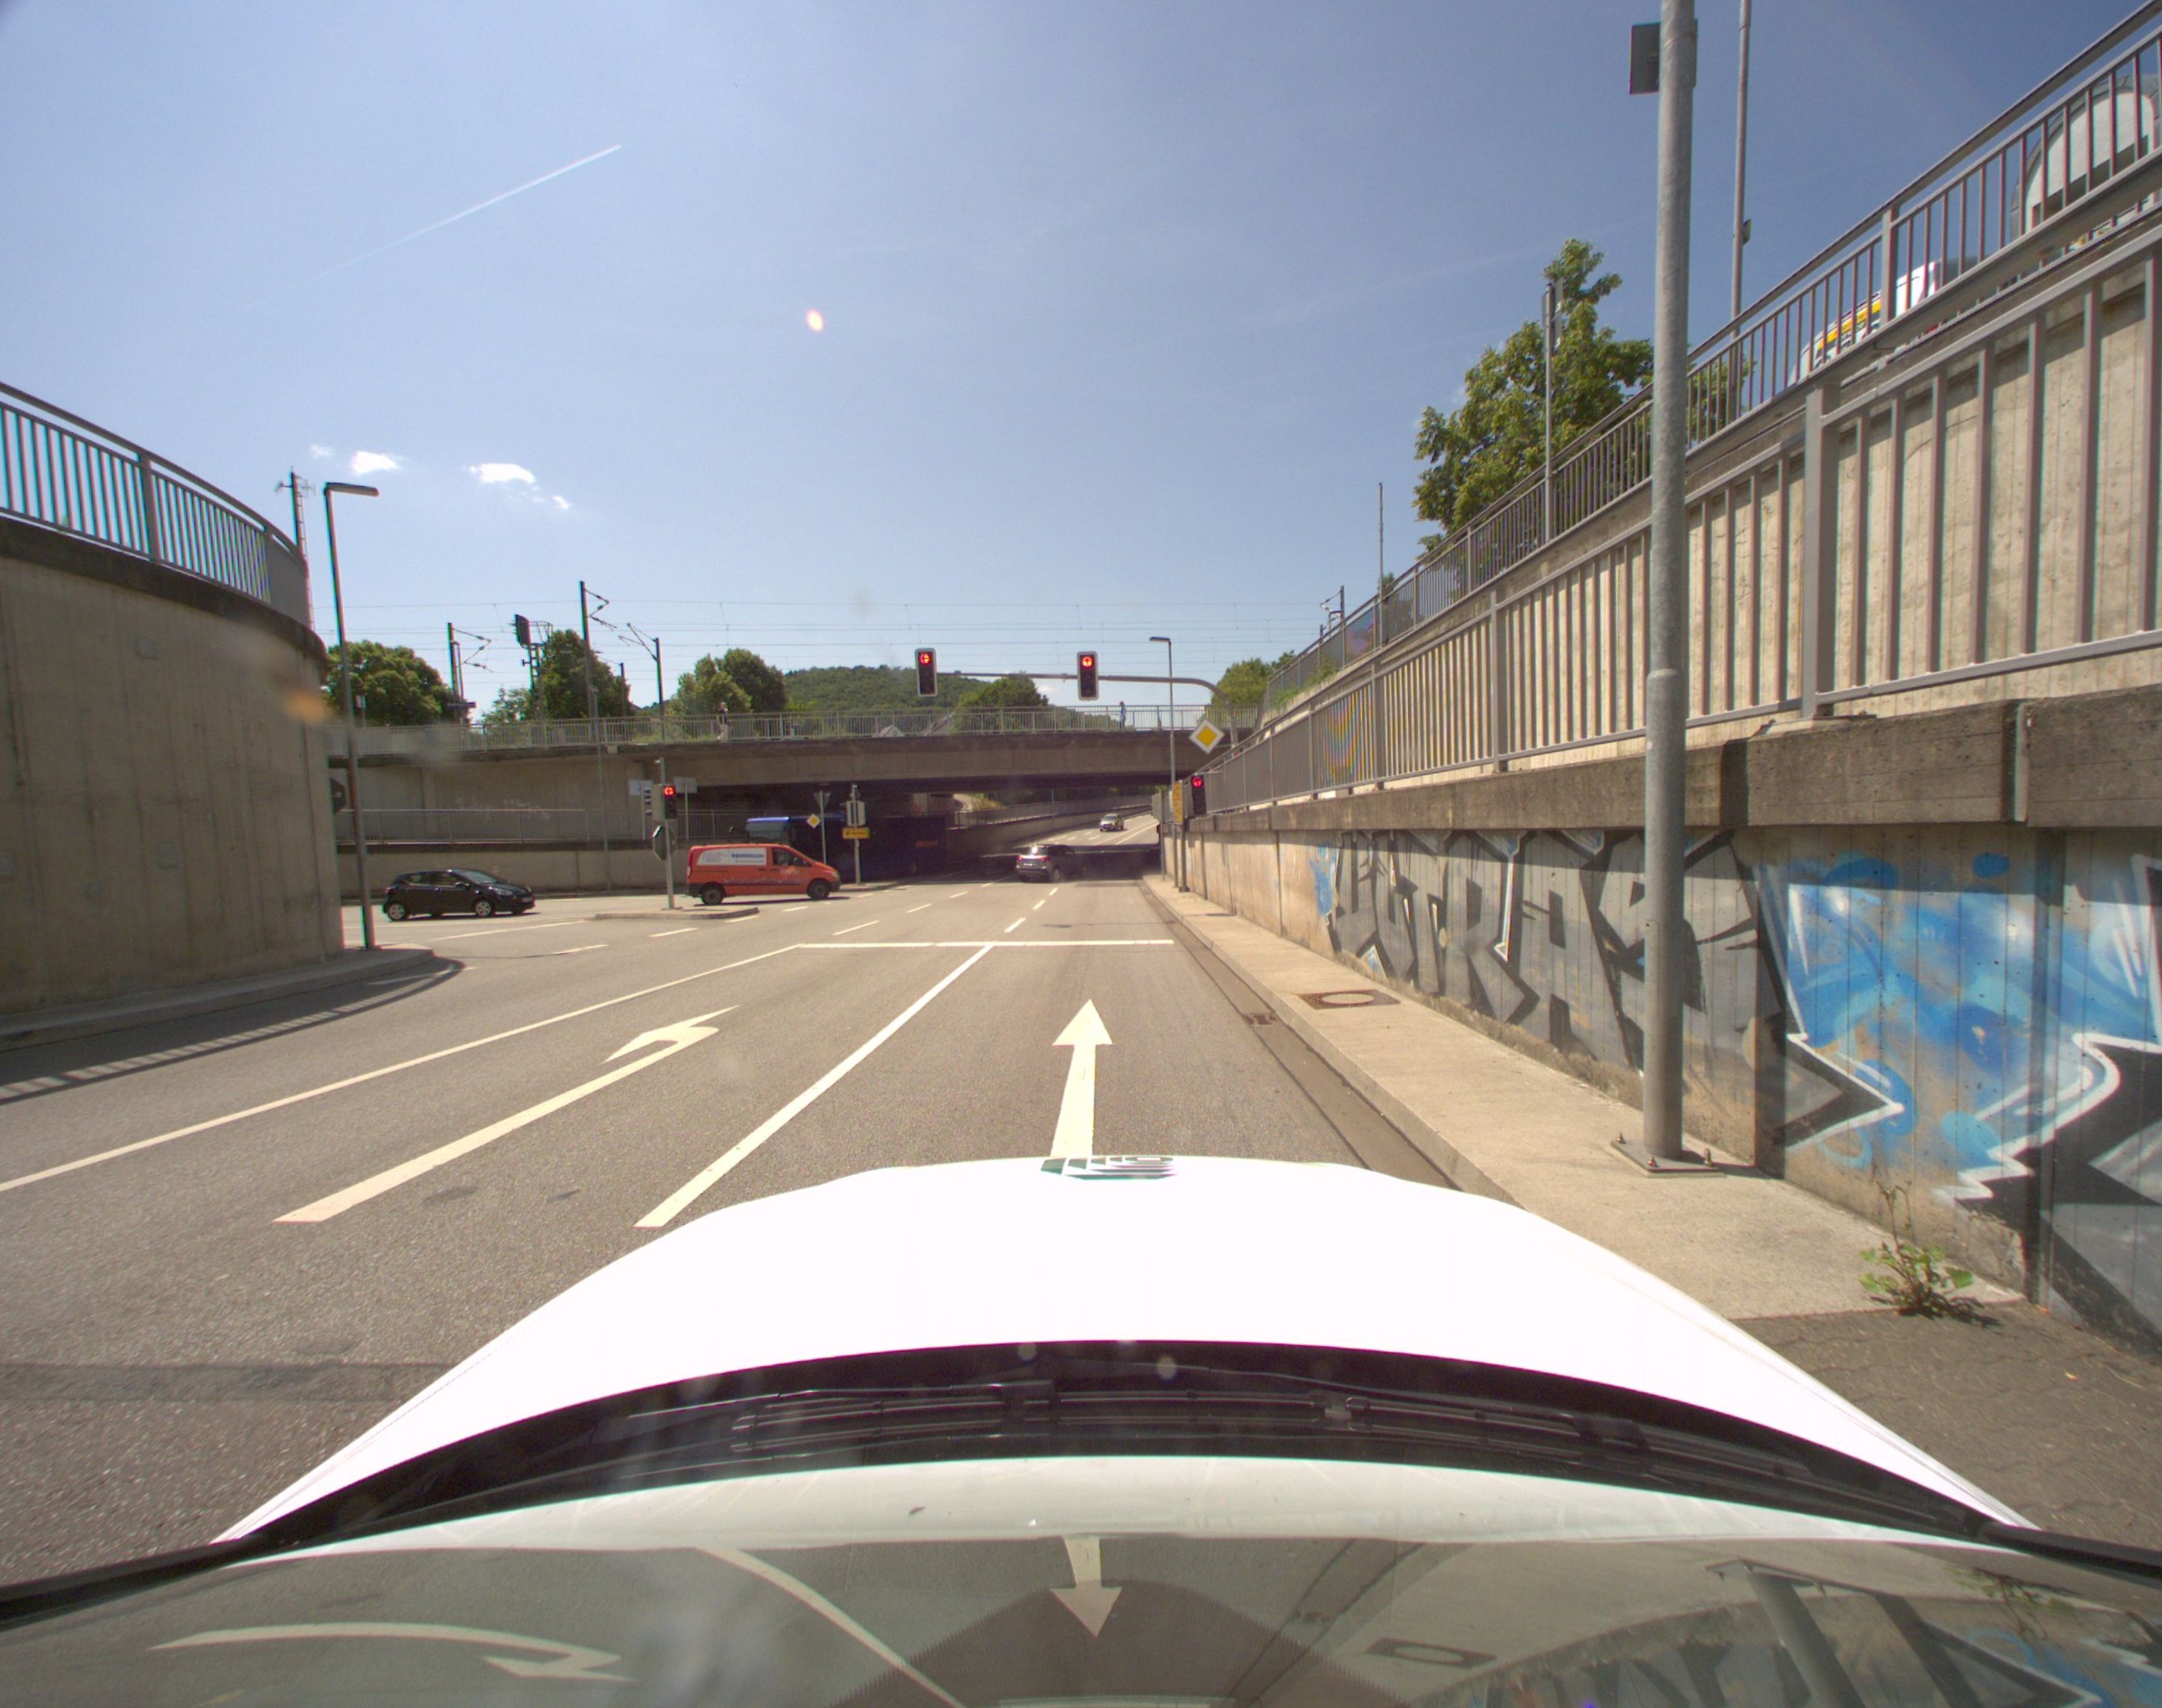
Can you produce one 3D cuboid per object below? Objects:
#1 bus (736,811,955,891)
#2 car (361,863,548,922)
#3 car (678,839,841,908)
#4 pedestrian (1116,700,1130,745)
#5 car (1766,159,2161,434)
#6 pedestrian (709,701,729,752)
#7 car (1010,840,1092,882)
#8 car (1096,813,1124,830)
[{"bbox_3d":[-10.433,-0.394,38.566,2.558,3.172,12.448,0,3,23],"label":"bus"},{"bbox_3d":[-18.522,1.116,24.231,3.971,1.507,2.002,-1,2,2],"label":"car"},{"bbox_3d":[-10.434,0.566,26.592,4.726,1.932,1.864,-2,3,-24],"label":"car"},{"bbox_3d":[2.027,-6.351,39.475,0.538,2.081,0.534,-2,0,-5],"label":"pedestrian"},{"bbox_3d":[9.695,-5.534,8.237,3.968,1.486,1.772,-1,0,4],"label":"car"},{"bbox_3d":[-15.498,-5.454,34.889,0.576,2.081,0.533,-2,0,-9],"label":"pedestrian"},{"bbox_3d":[-1.234,0.266,35.645,1.787,1.617,4.025,0,3,28],"label":"car"},{"bbox_3d":[3.008,-3.337,82.744,1.979,1.627,4.016,-1,2,14],"label":"car"}]
